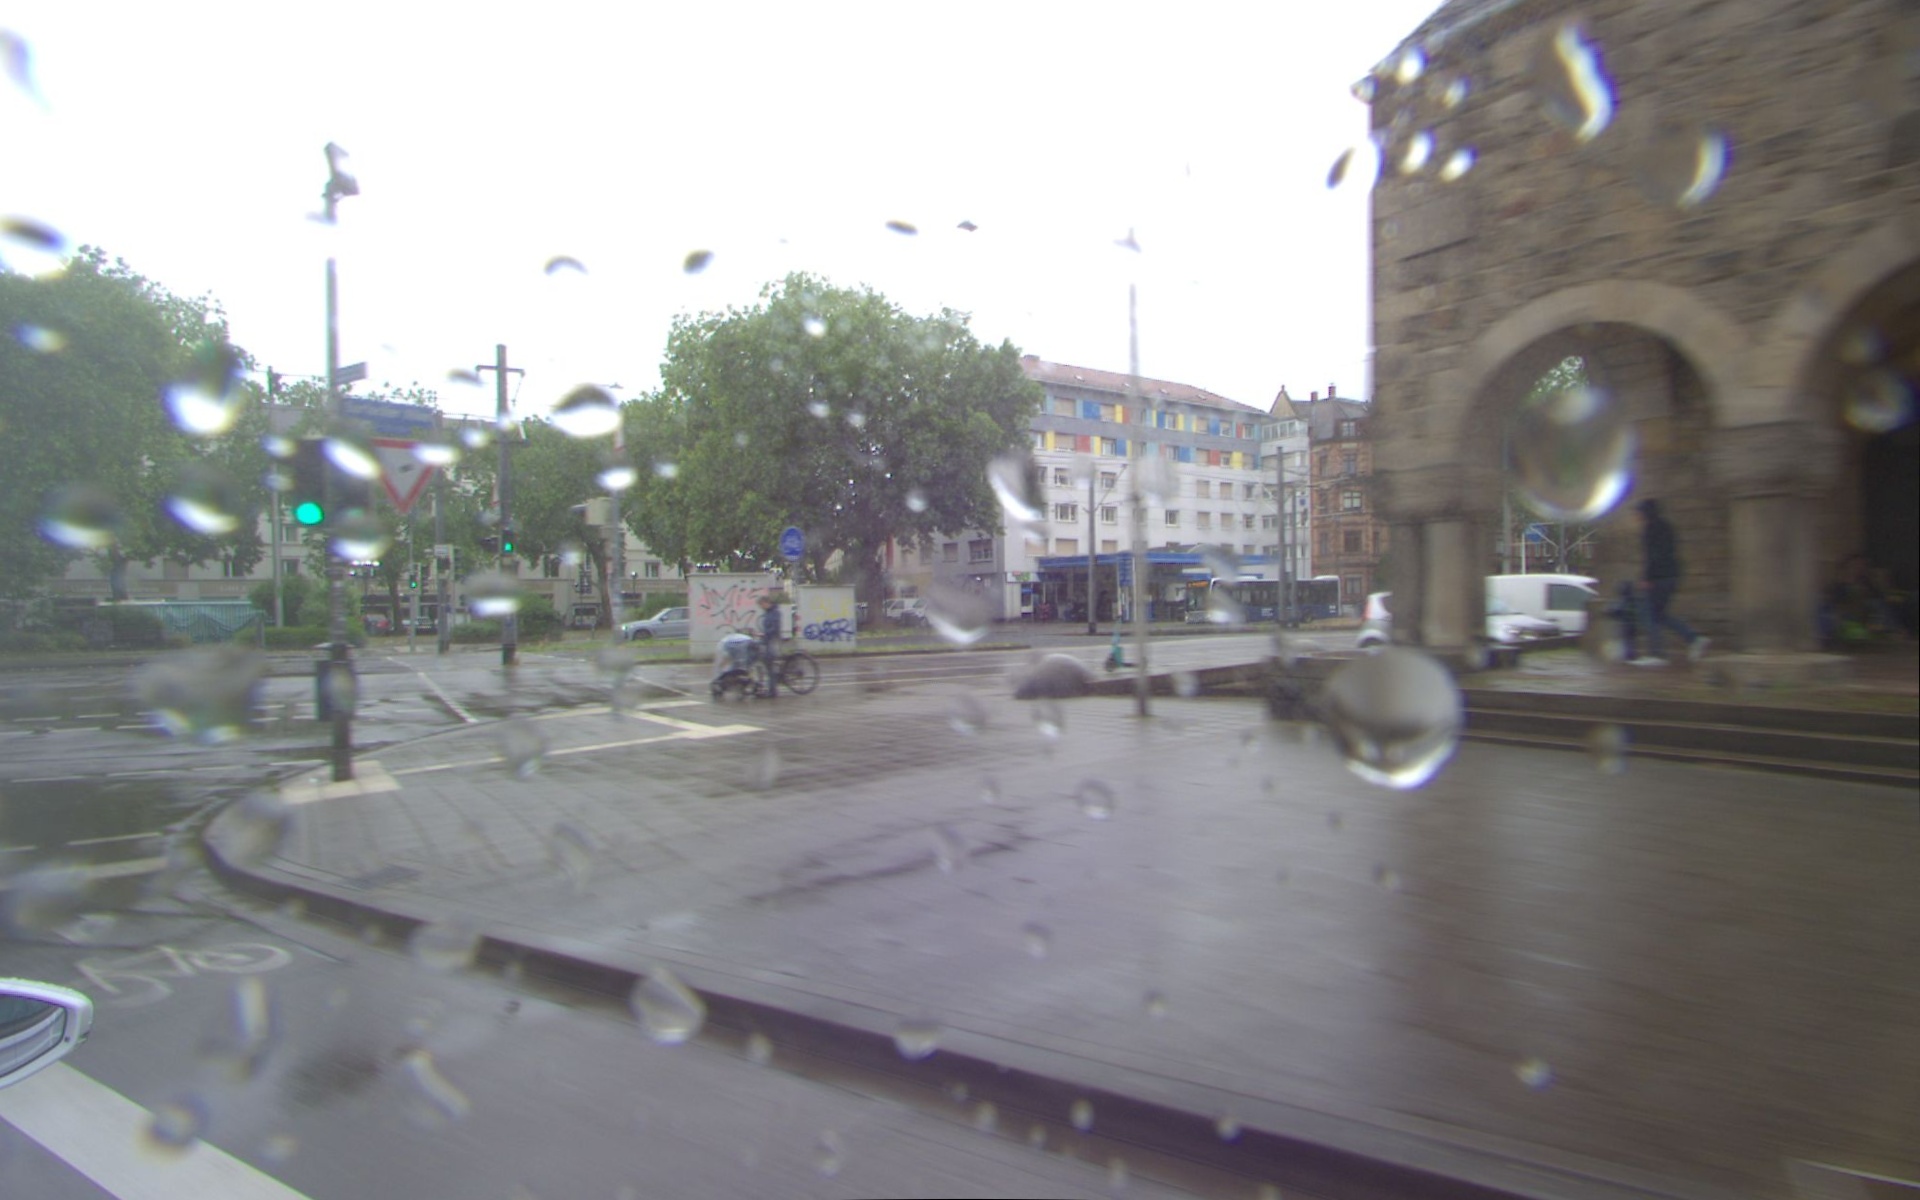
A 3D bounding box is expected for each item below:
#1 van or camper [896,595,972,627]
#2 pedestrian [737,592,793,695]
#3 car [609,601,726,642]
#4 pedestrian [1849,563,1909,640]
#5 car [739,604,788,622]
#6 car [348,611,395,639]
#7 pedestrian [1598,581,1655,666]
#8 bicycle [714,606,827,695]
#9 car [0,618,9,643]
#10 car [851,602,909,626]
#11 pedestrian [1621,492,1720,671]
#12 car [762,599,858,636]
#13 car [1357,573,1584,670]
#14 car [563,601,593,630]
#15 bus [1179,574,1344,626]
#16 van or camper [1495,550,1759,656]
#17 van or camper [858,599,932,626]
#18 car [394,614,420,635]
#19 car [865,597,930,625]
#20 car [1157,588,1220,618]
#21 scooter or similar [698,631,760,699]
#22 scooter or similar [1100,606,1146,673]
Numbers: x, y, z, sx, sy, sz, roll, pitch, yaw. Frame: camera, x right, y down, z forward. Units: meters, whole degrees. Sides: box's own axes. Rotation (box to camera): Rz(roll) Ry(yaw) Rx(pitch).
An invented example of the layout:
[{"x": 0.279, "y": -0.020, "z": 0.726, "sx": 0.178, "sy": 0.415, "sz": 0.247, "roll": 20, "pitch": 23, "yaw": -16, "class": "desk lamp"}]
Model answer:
[{"x": -1.636, "y": 0.692, "z": 64.499, "sx": 4.615, "sy": 1.940, "sz": 1.984, "roll": -1, "pitch": 0, "yaw": -38, "class": "van or camper"}, {"x": -3.265, "y": 0.717, "z": 16.788, "sx": 0.679, "sy": 1.686, "sz": 0.601, "roll": 0, "pitch": 1, "yaw": 35, "class": "pedestrian"}, {"x": -12.502, "y": 0.893, "z": 42.937, "sx": 4.497, "sy": 1.621, "sz": 1.779, "roll": -1, "pitch": 1, "yaw": -36, "class": "car"}, {"x": 10.969, "y": 0.023, "z": 11.953, "sx": 0.391, "sy": 0.896, "sz": 0.453, "roll": -1, "pitch": 1, "yaw": -35, "class": "pedestrian"}, {"x": -17.513, "y": 1.156, "z": 89.464, "sx": 3.945, "sy": 1.471, "sz": 1.667, "roll": -1, "pitch": 0, "yaw": -33, "class": "car"}, {"x": -35.389, "y": 1.499, "z": 60.219, "sx": 1.651, "sy": 1.541, "sz": 3.644, "roll": -2, "pitch": 0, "yaw": -43, "class": "car"}, {"x": 7.245, "y": 0.247, "z": 10.883, "sx": 0.451, "sy": 0.896, "sz": 0.393, "roll": -1, "pitch": 1, "yaw": -38, "class": "pedestrian"}, {"x": -3.273, "y": 0.858, "z": 17.266, "sx": 1.907, "sy": 1.486, "sz": 0.532, "roll": -1, "pitch": 1, "yaw": 22, "class": "bicycle"}, {"x": -62.464, "y": 1.980, "z": 64.238, "sx": 1.664, "sy": 1.595, "sz": 3.709, "roll": -1, "pitch": -1, "yaw": -37, "class": "car"}, {"x": -5.830, "y": 1.016, "z": 73.342, "sx": 3.947, "sy": 1.611, "sz": 1.662, "roll": -1, "pitch": 1, "yaw": -34, "class": "car"}, {"x": 7.187, "y": -0.178, "z": 10.132, "sx": 0.626, "sy": 1.726, "sz": 0.673, "roll": -2, "pitch": 1, "yaw": -38, "class": "pedestrian"}, {"x": -6.998, "y": 0.776, "z": 46.832, "sx": 4.125, "sy": 1.621, "sz": 1.766, "roll": -1, "pitch": 1, "yaw": -36, "class": "car"}, {"x": 9.466, "y": 0.453, "z": 18.803, "sx": 1.712, "sy": 1.593, "sz": 3.342, "roll": -1, "pitch": -3, "yaw": -32, "class": "car"}, {"x": -32.502, "y": 1.337, "z": 85.094, "sx": 1.533, "sy": 2.231, "sz": 4.076, "roll": -2, "pitch": -2, "yaw": -33, "class": "car"}, {"x": 19.770, "y": -0.053, "z": 65.193, "sx": 11.926, "sy": 3.155, "sz": 2.878, "roll": -1, "pitch": 1, "yaw": -30, "class": "bus"}, {"x": 12.871, "y": 0.125, "z": 19.556, "sx": 1.627, "sy": 1.749, "sz": 3.908, "roll": -2, "pitch": -3, "yaw": -34, "class": "van or camper"}, {"x": -4.279, "y": 0.807, "z": 66.125, "sx": 4.615, "sy": 1.620, "sz": 1.984, "roll": -1, "pitch": 0, "yaw": -38, "class": "van or camper"}, {"x": -43.621, "y": 1.943, "z": 78.930, "sx": 1.533, "sy": 1.485, "sz": 3.348, "roll": -1, "pitch": -2, "yaw": -33, "class": "car"}, {"x": -4.299, "y": 0.734, "z": 69.169, "sx": 4.210, "sy": 1.802, "sz": 1.725, "roll": -1, "pitch": 1, "yaw": -38, "class": "car"}, {"x": 15.945, "y": 0.215, "z": 69.932, "sx": 1.974, "sy": 2.040, "sz": 3.973, "roll": -1, "pitch": 0, "yaw": -35, "class": "car"}, {"x": -3.814, "y": 1.063, "z": 16.538, "sx": 0.911, "sy": 1.062, "sz": 0.511, "roll": 0, "pitch": 1, "yaw": 34, "class": "scooter or similar"}, {"x": 3.545, "y": 0.842, "z": 21.733, "sx": 1.090, "sy": 1.406, "sz": 0.284, "roll": -1, "pitch": 1, "yaw": -36, "class": "scooter or similar"}]
